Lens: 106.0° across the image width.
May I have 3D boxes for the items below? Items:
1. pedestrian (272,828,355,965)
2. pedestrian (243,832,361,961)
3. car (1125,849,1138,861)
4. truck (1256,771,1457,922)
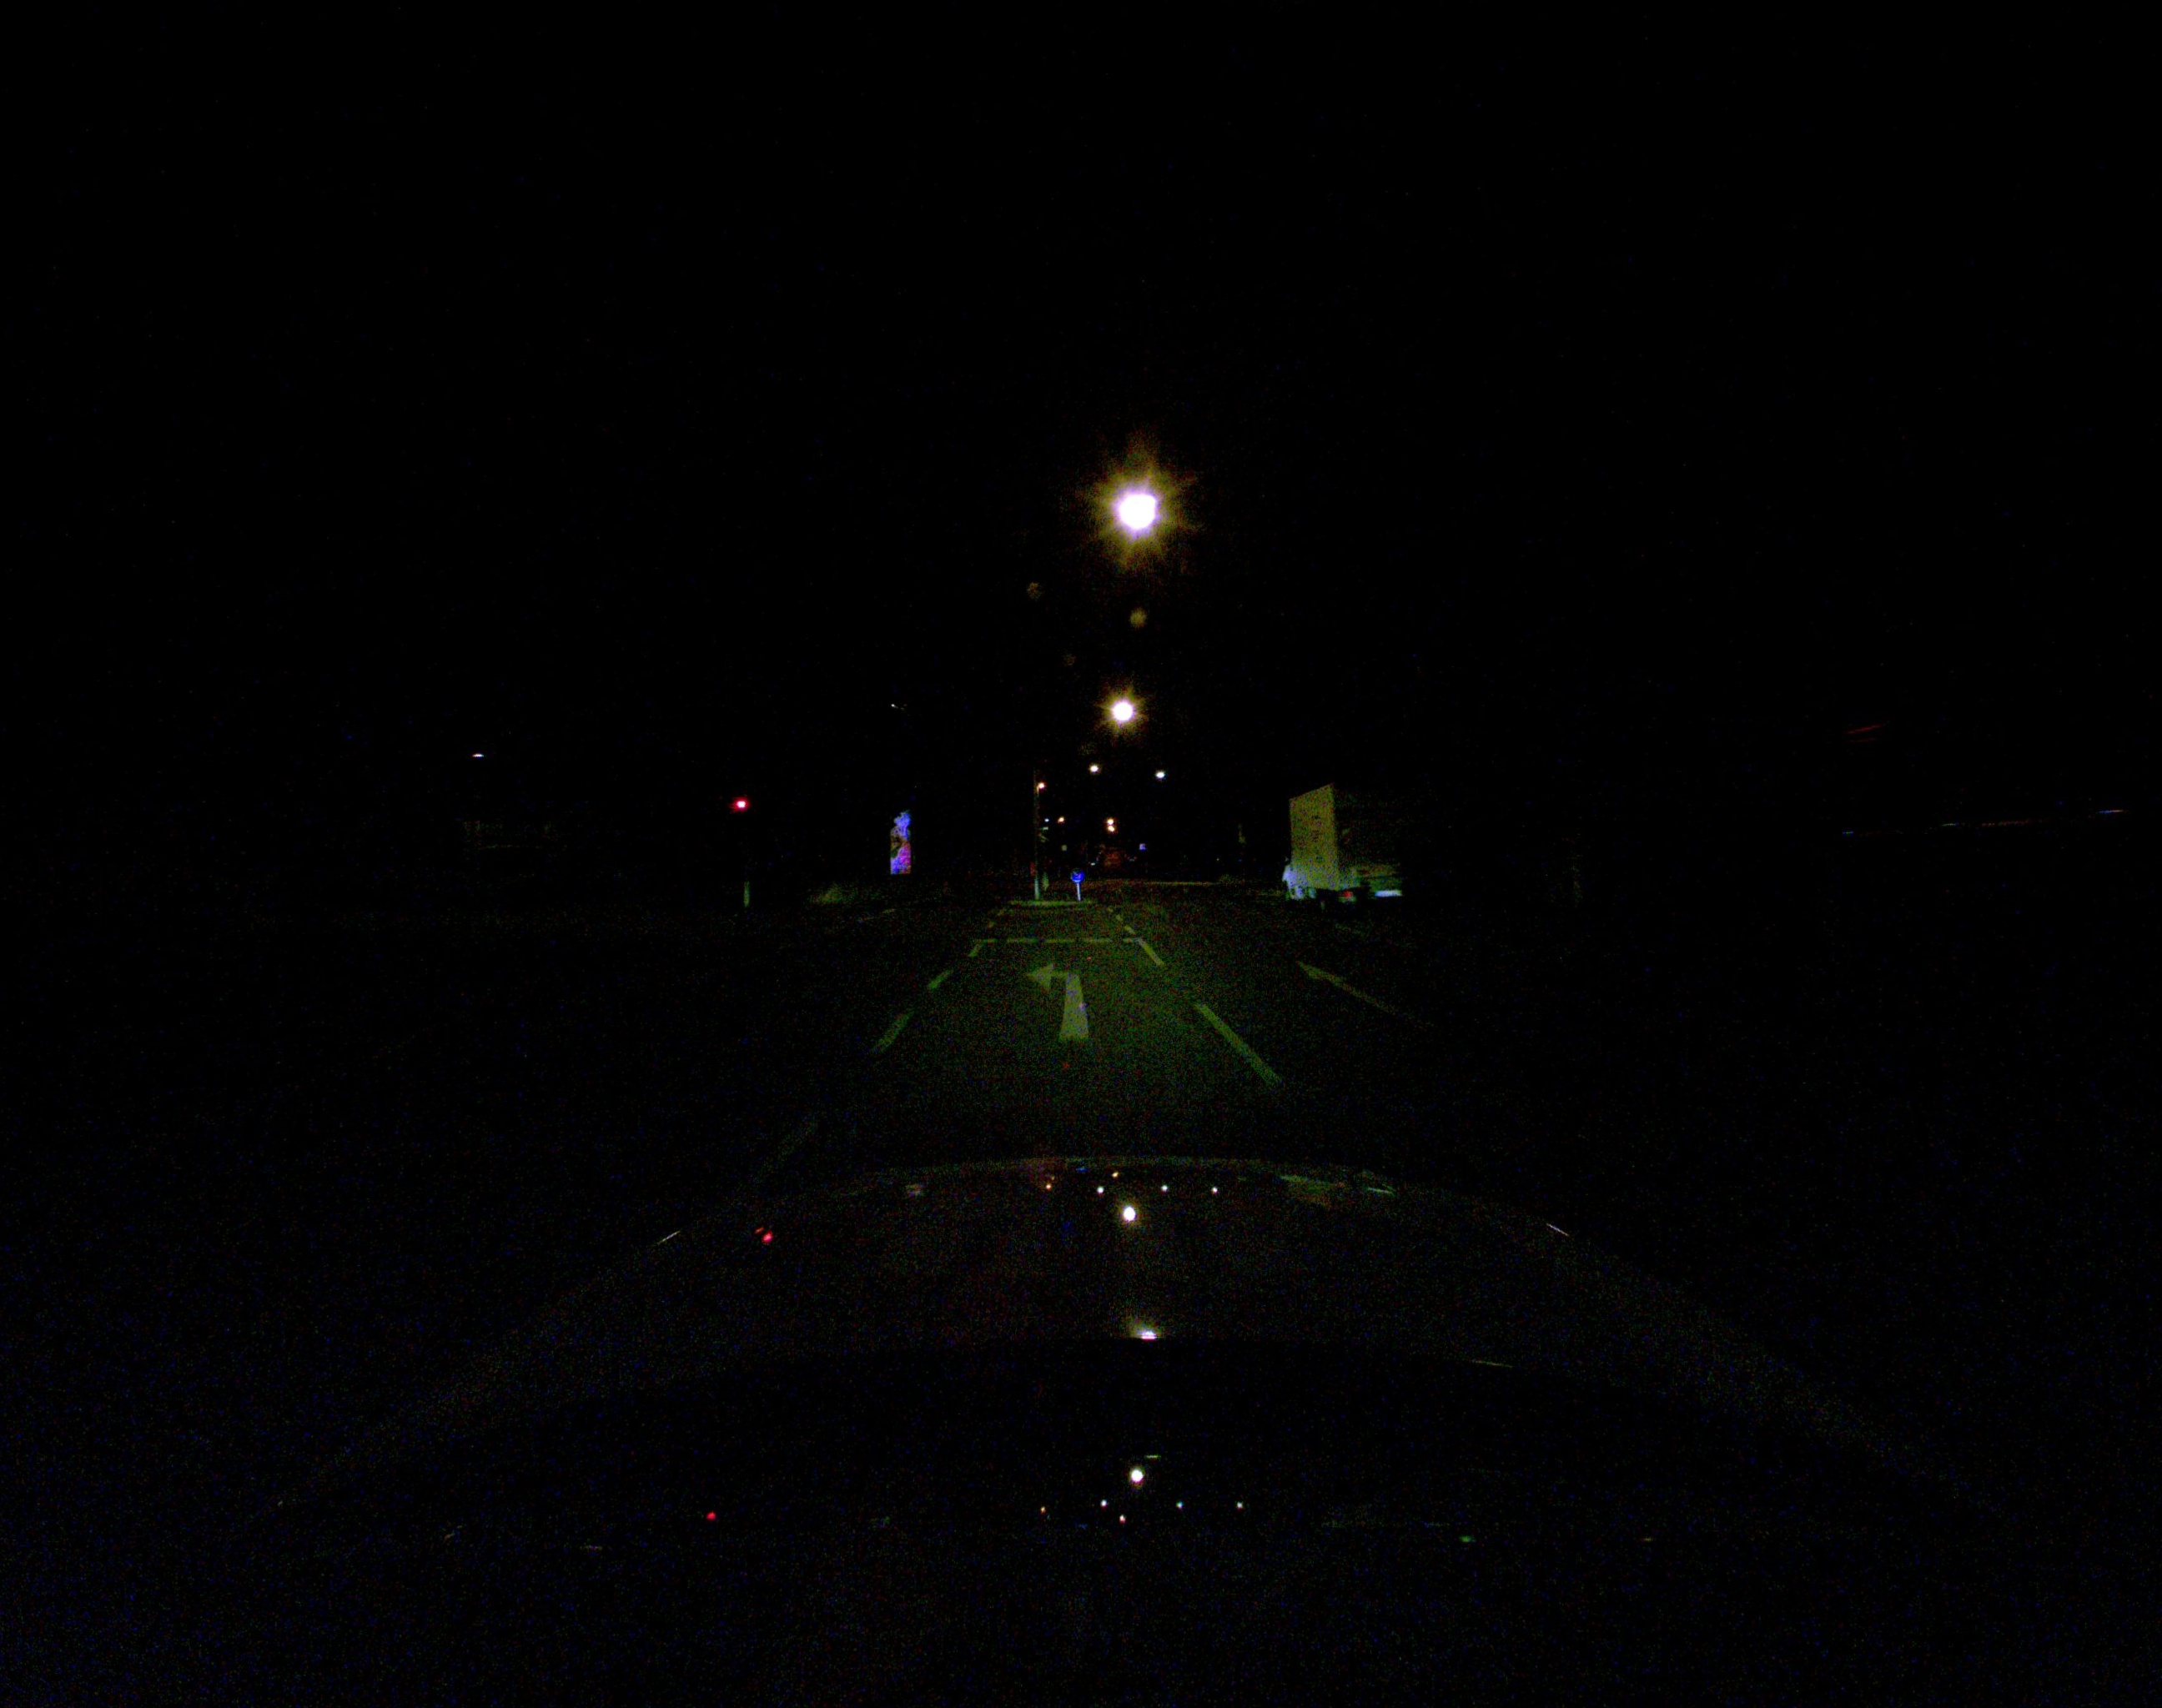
[{"bbox_3d":[-10.421,0.559,11.064,0.684,1.792,0.526,1,-1,20],"label":"pedestrian"},{"bbox_3d":[-11.166,0.589,11.696,0.957,1.769,0.730,1,0,5],"label":"pedestrian"},{"bbox_3d":[7.988,0.135,129.117,1.986,1.769,4.002,0,0,2],"label":"car"},{"bbox_3d":[6.524,-0.141,20.602,2.754,3.044,7.038,-3,0,2],"label":"truck"}]
